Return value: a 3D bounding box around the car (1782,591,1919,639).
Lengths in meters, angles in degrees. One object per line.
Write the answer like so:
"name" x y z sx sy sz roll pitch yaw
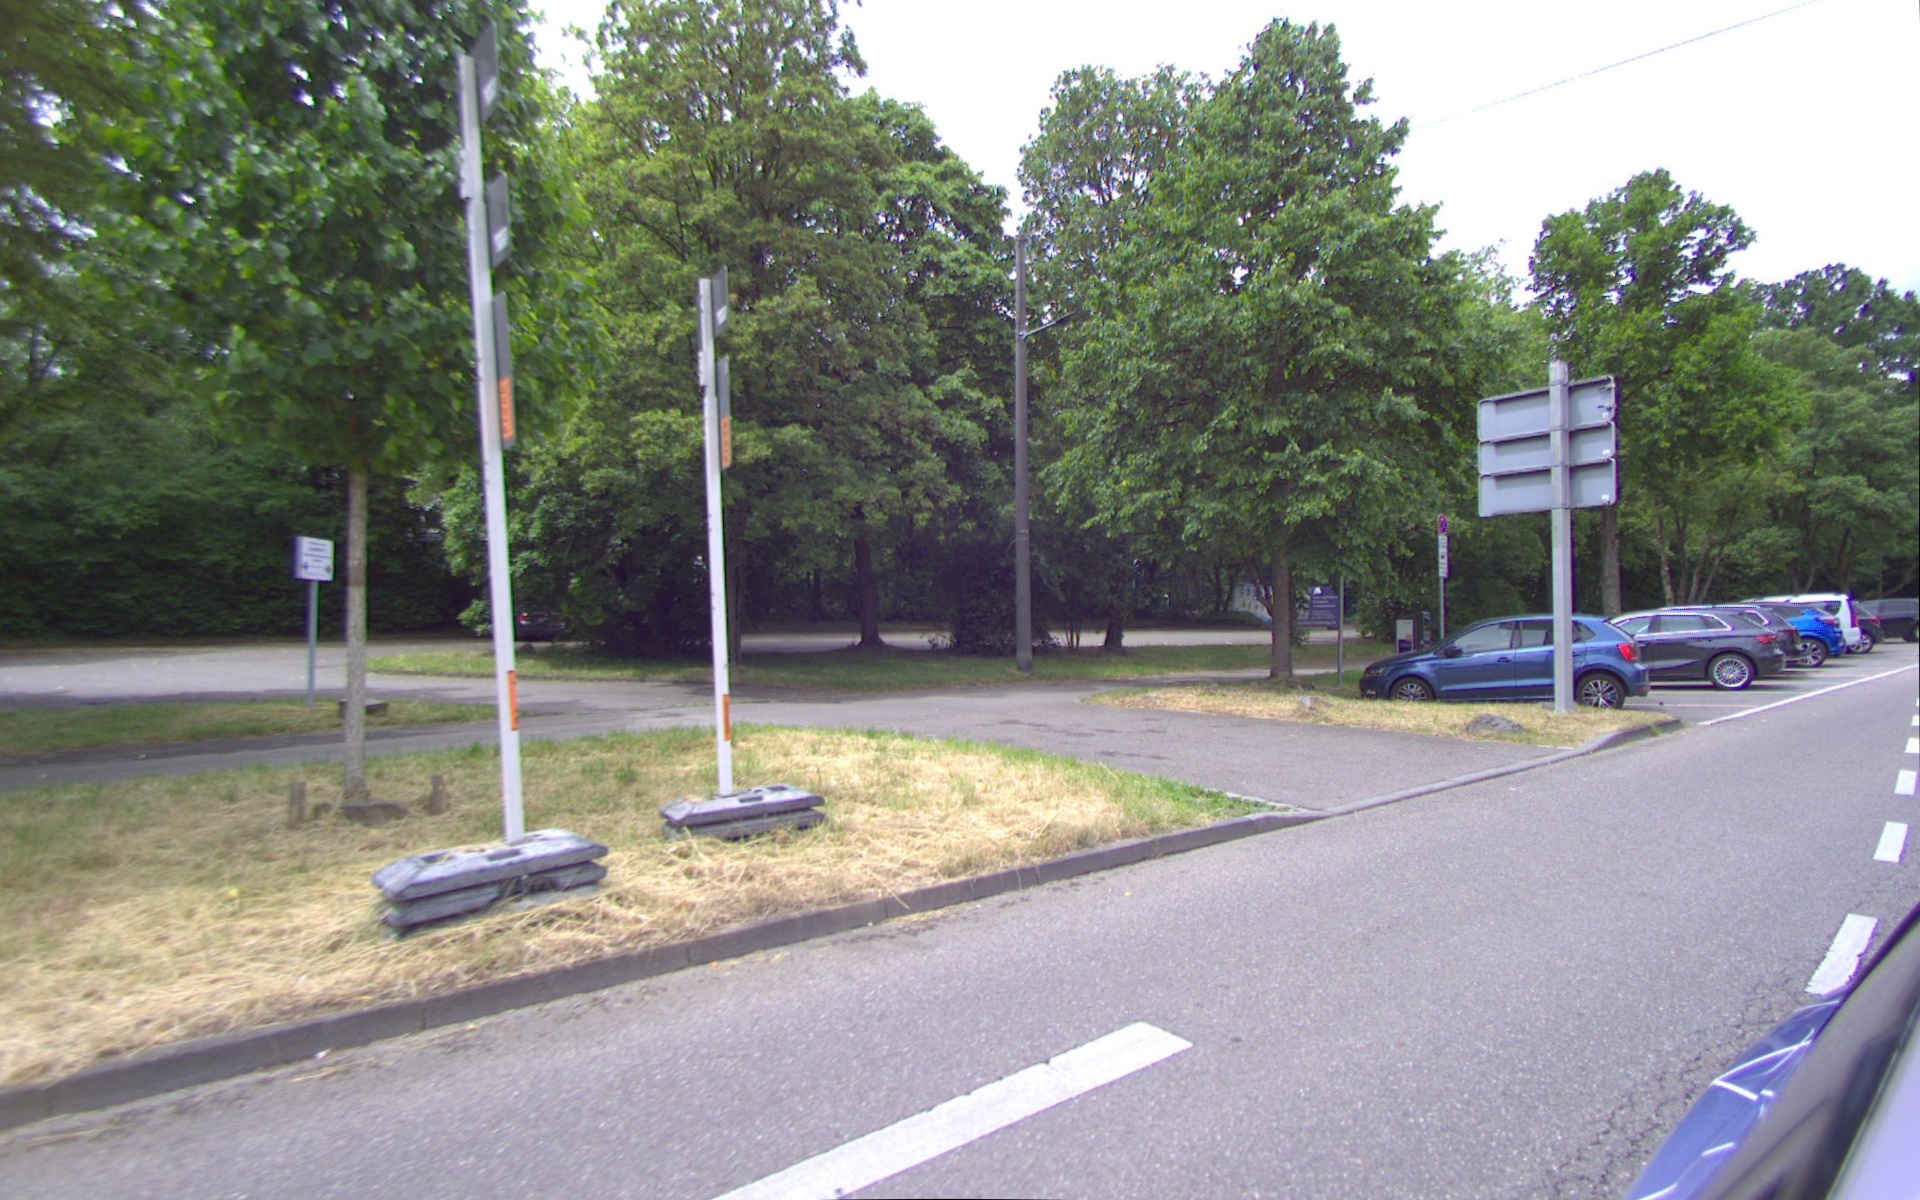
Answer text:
"car" 30.333 0.486 33.909 3.967 1.432 2.034 -4 -3 31

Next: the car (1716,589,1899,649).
"car" 24.058 0.572 28.930 3.808 1.487 1.723 -4 -3 37

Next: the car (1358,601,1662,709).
"car" 8.256 0.847 15.439 3.798 1.443 1.728 -4 -2 30

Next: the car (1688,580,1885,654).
"car" 22.000 0.467 27.169 3.802 1.742 1.856 -4 -2 33

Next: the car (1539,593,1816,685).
"car" 12.808 0.720 18.358 3.857 1.444 1.808 -4 -2 34

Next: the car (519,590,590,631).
"car" -15.026 0.350 37.368 1.765 1.427 4.002 -1 1 -32

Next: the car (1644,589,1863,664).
"car" 18.373 0.628 23.687 3.802 1.548 1.726 -4 -2 33

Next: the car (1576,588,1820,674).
"car" 14.884 0.653 20.680 3.802 1.548 1.726 -4 -2 33
